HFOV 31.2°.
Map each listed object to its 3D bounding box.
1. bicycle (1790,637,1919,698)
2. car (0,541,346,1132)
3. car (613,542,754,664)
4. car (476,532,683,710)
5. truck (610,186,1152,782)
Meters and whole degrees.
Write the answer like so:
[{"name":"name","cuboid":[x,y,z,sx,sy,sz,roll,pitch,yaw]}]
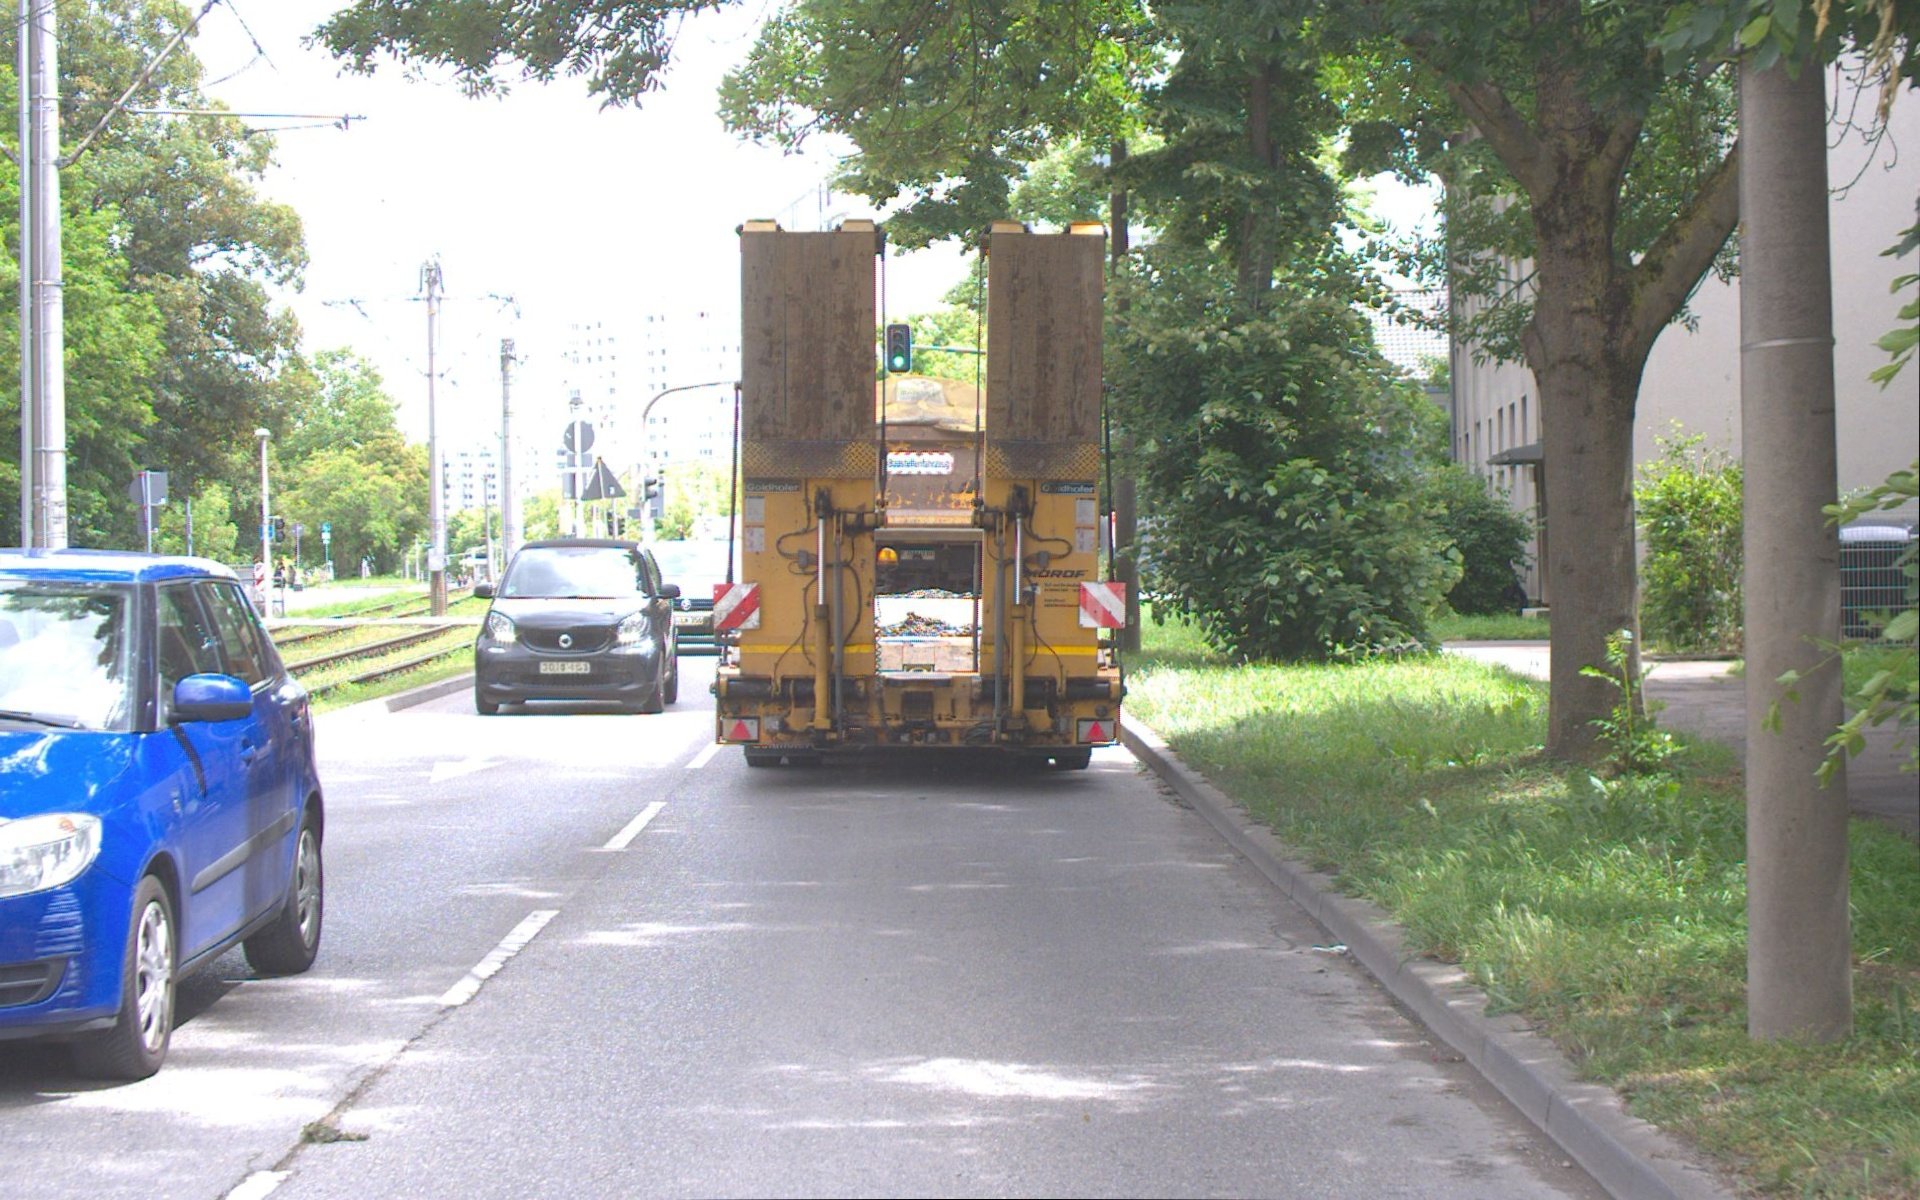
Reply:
[{"name":"bicycle","cuboid":[8.441,0.597,30.166,2.205,0.506,0.673,1,0,10]},{"name":"car","cuboid":[-3.024,0.568,10.643,1.581,1.480,3.806,1,1,0]},{"name":"car","cuboid":[-3.777,0.008,47.453,1.716,1.539,4.001,1,2,-1]},{"name":"car","cuboid":[-3.453,0.152,31.648,1.637,1.528,3.275,1,1,-2]},{"name":"truck","cuboid":[-0.709,-0.734,27.379,3.316,3.638,12.563,0,0,-2]}]
